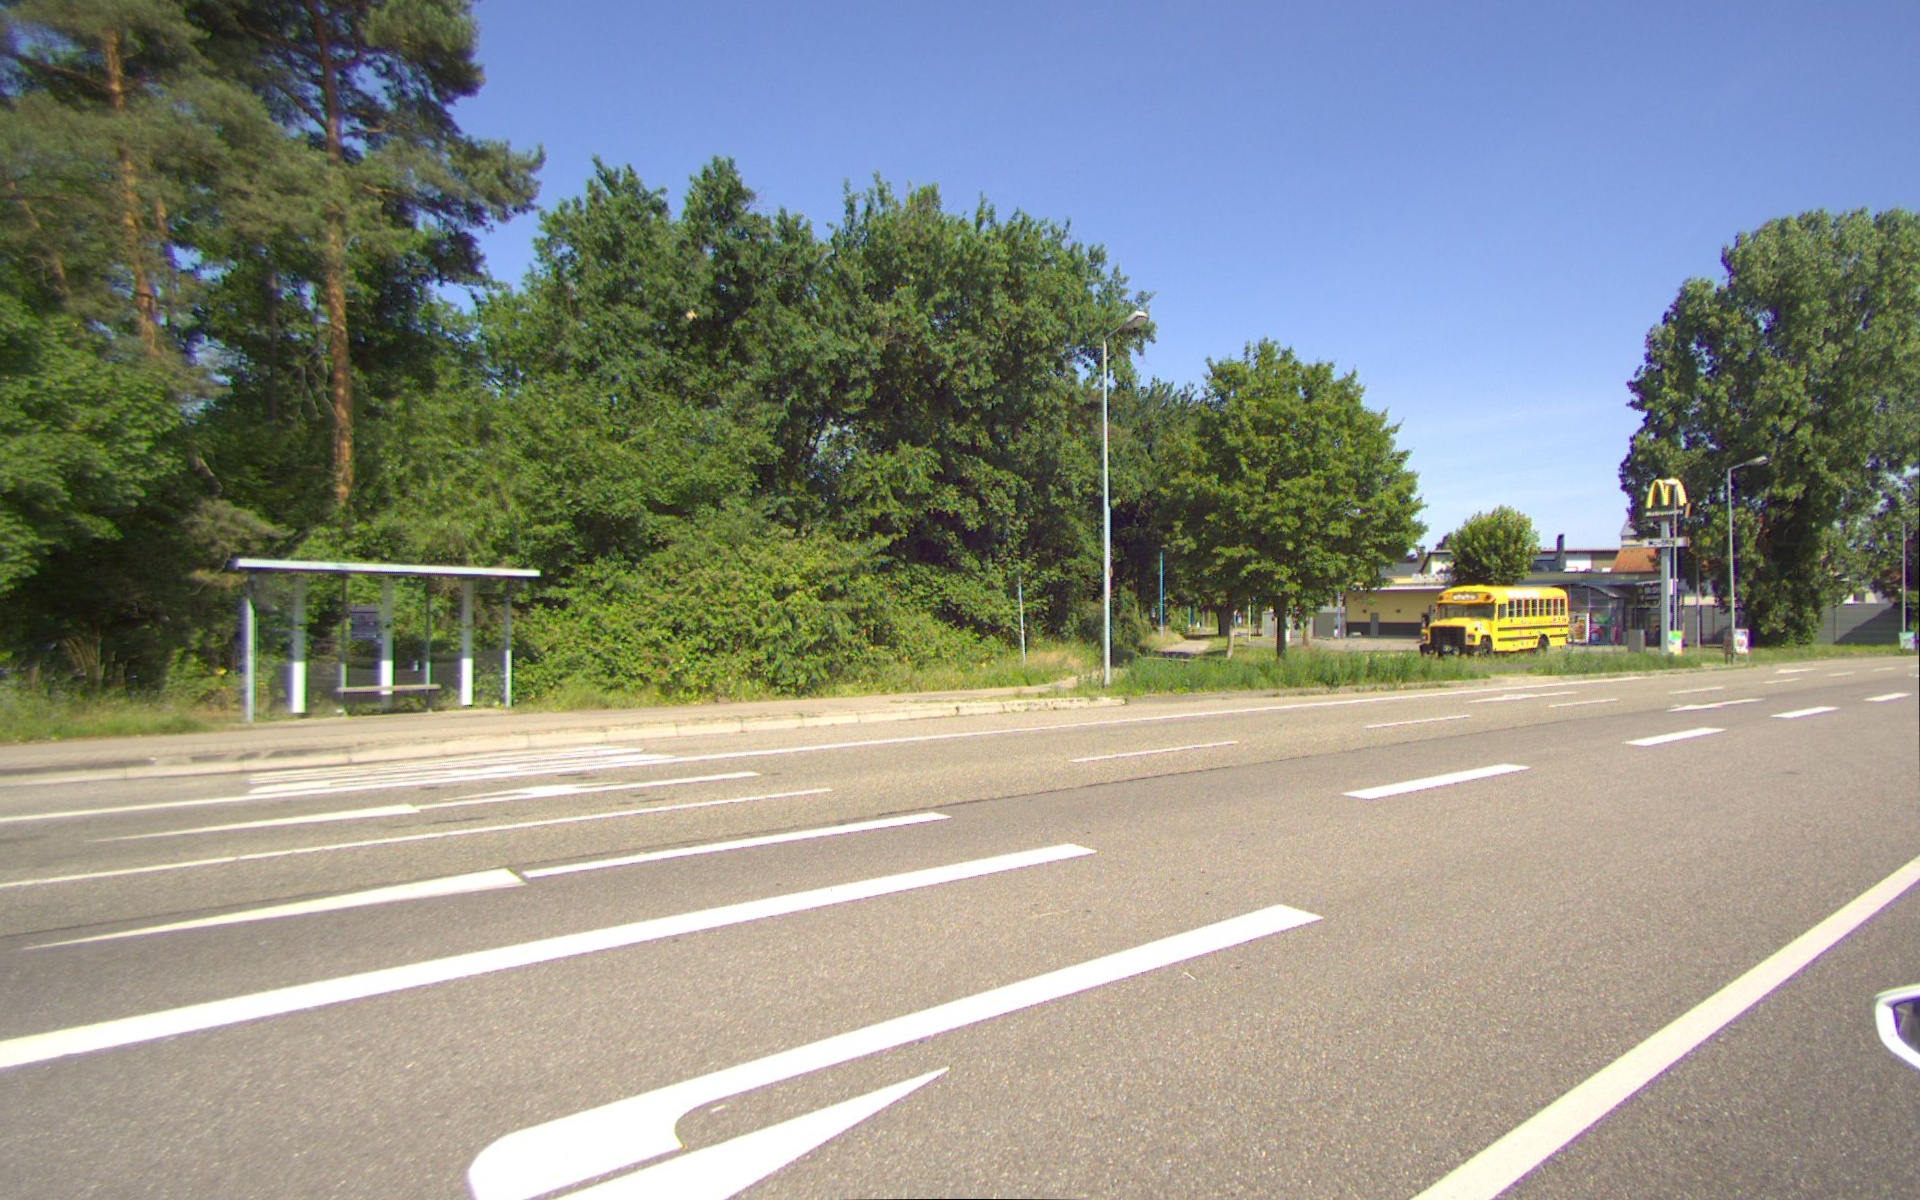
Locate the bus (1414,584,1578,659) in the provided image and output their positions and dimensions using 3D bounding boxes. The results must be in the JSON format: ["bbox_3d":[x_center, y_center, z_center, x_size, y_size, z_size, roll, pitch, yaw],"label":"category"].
[{"bbox_3d":[21.687,0.873,40.352,8.921,2.715,2.558,2,0,-39],"label":"bus"}]
